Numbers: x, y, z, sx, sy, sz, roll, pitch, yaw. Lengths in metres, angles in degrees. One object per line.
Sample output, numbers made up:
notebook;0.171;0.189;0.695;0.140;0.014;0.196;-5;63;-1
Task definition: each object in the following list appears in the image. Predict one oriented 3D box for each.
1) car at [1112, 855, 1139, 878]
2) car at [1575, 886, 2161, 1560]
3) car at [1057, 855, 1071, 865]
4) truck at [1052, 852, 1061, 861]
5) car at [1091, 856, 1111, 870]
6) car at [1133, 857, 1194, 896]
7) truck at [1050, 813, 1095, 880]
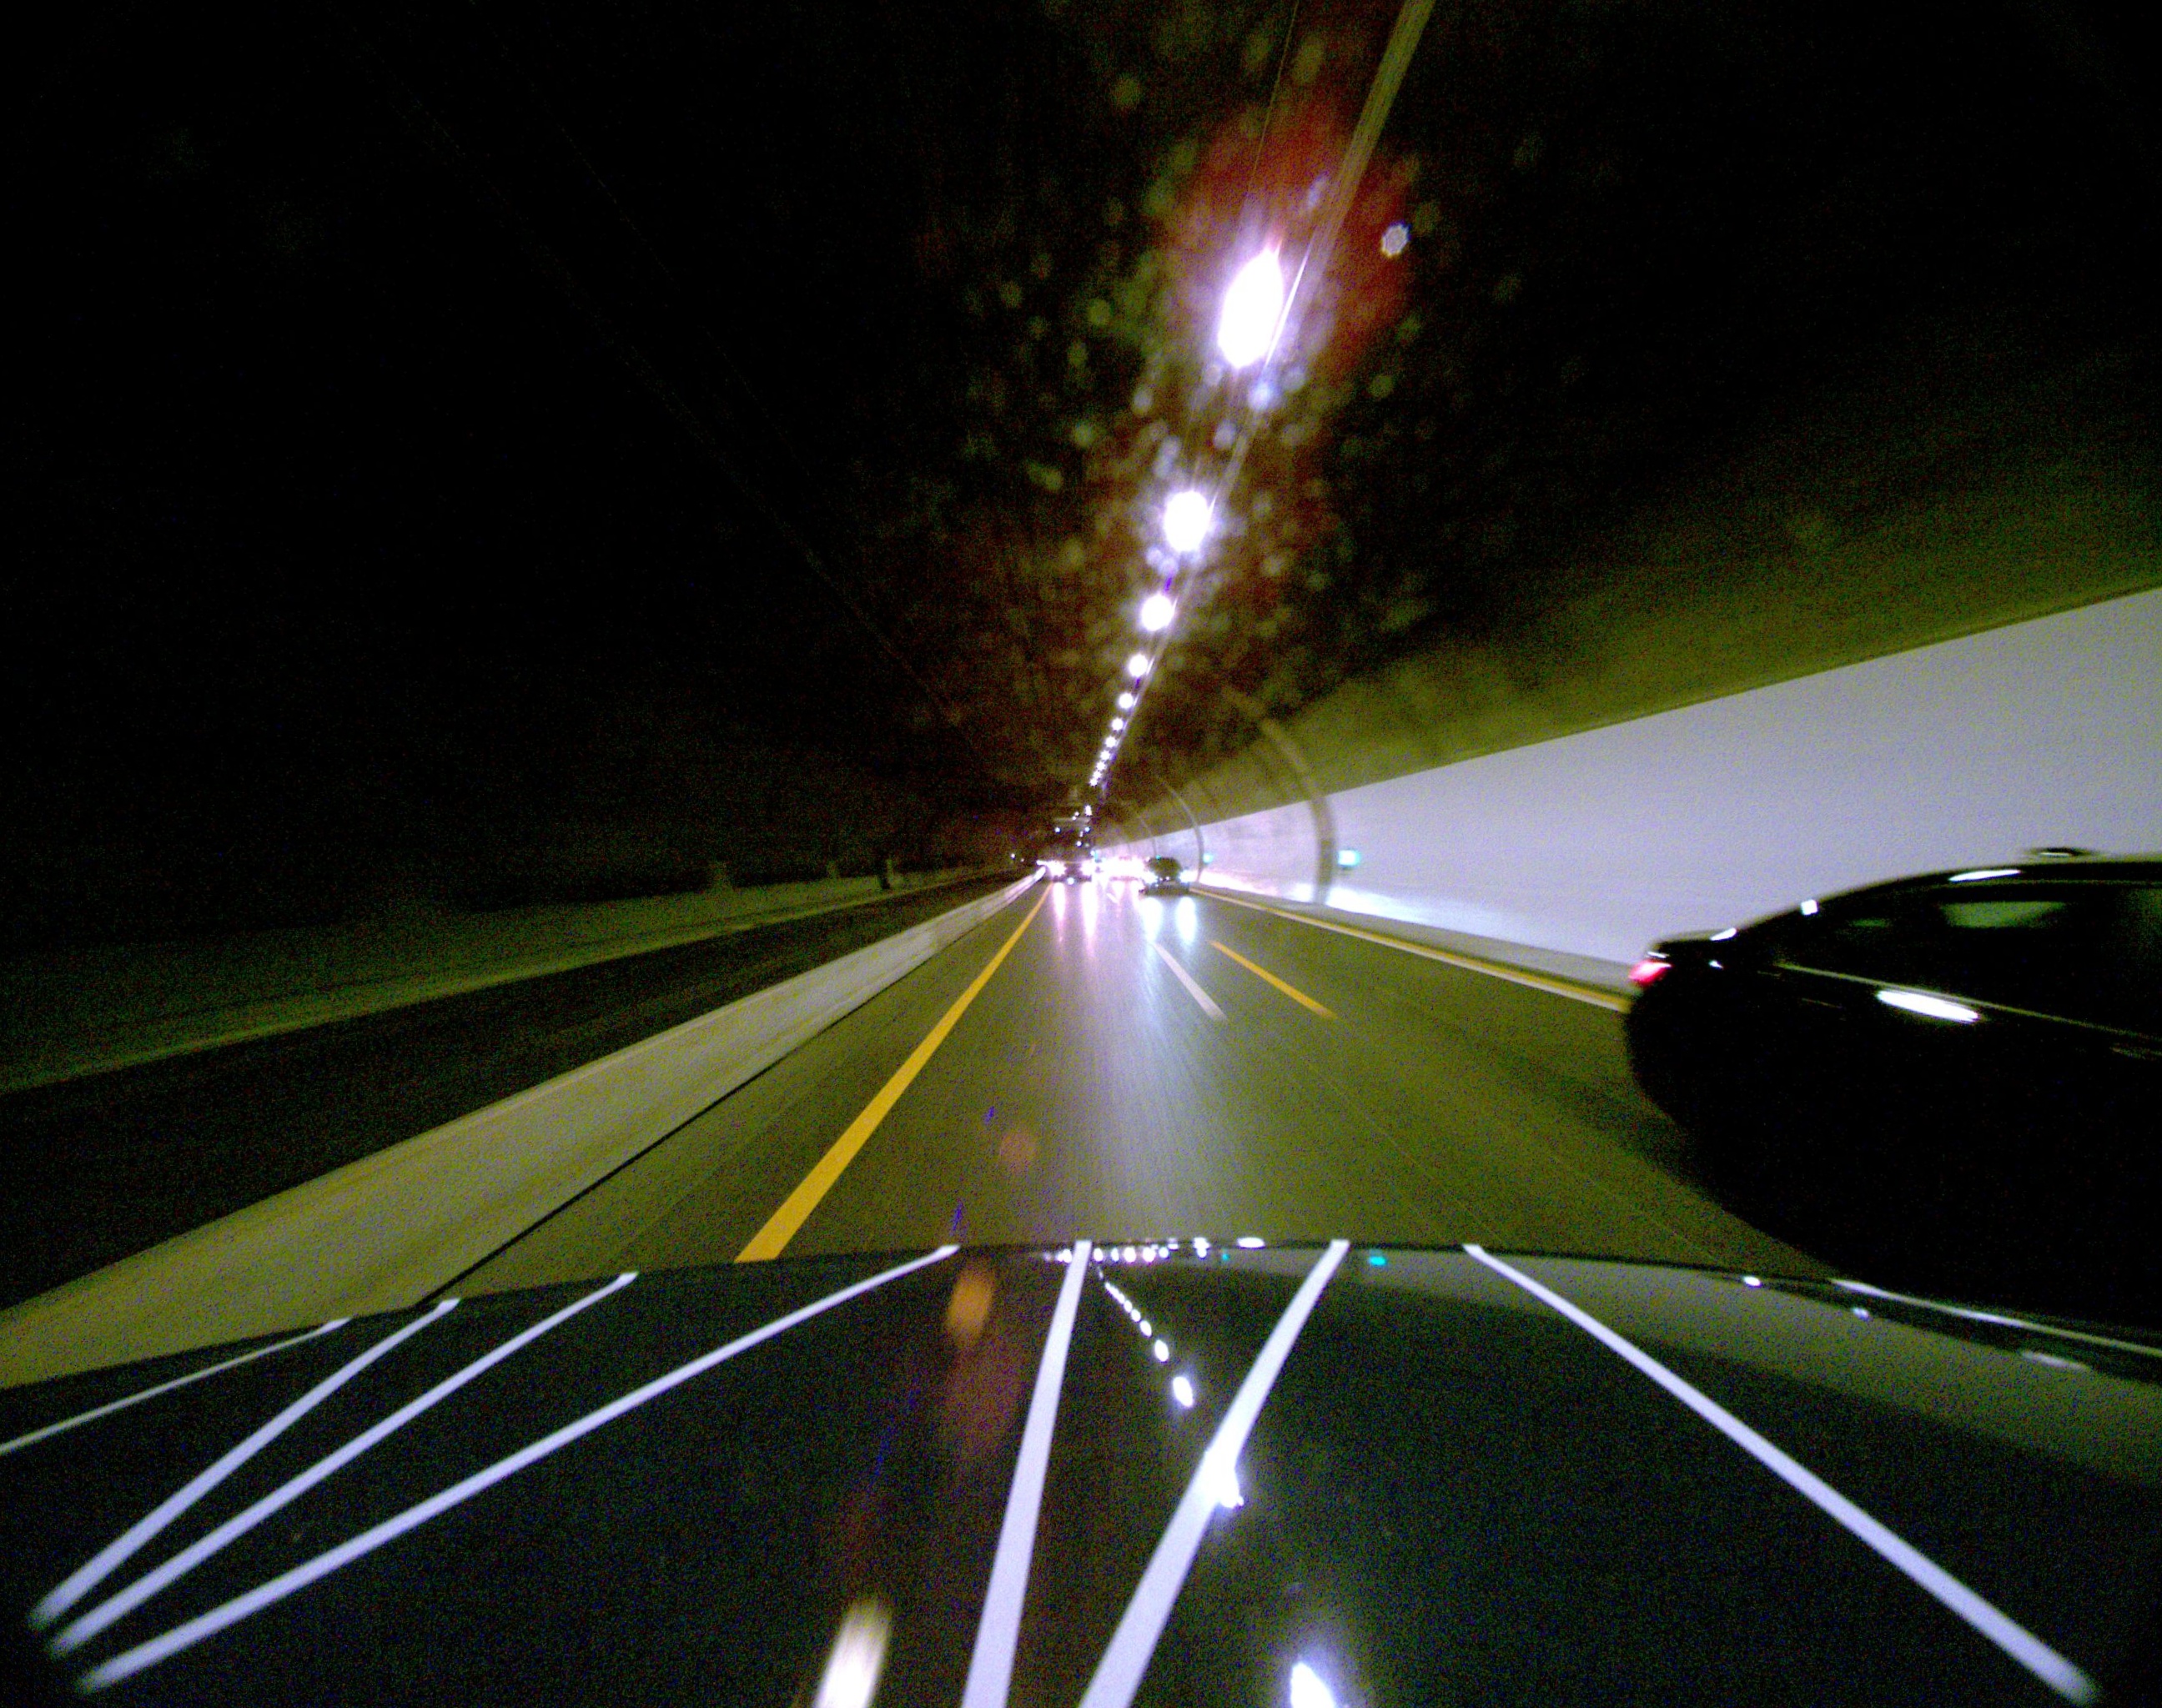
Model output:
car;2.950;0.817;50.758;1.531;1.508;2.651;-2;0;-1
car;3.385;0.901;1.375;1.782;1.430;4.882;-2;0;0
car;-2.666;0.967;118.856;1.999;1.524;3.999;-2;0;-1
truck;-8.314;0.775;256.323;2.610;2.723;6.395;-2;0;-4
car;2.125;0.918;80.840;1.909;1.412;4.060;-2;0;-1
car;3.295;0.857;31.206;1.783;1.430;4.882;-2;0;-1
truck;-0.518;-0.460;51.750;2.742;4.127;8.100;-2;0;0
